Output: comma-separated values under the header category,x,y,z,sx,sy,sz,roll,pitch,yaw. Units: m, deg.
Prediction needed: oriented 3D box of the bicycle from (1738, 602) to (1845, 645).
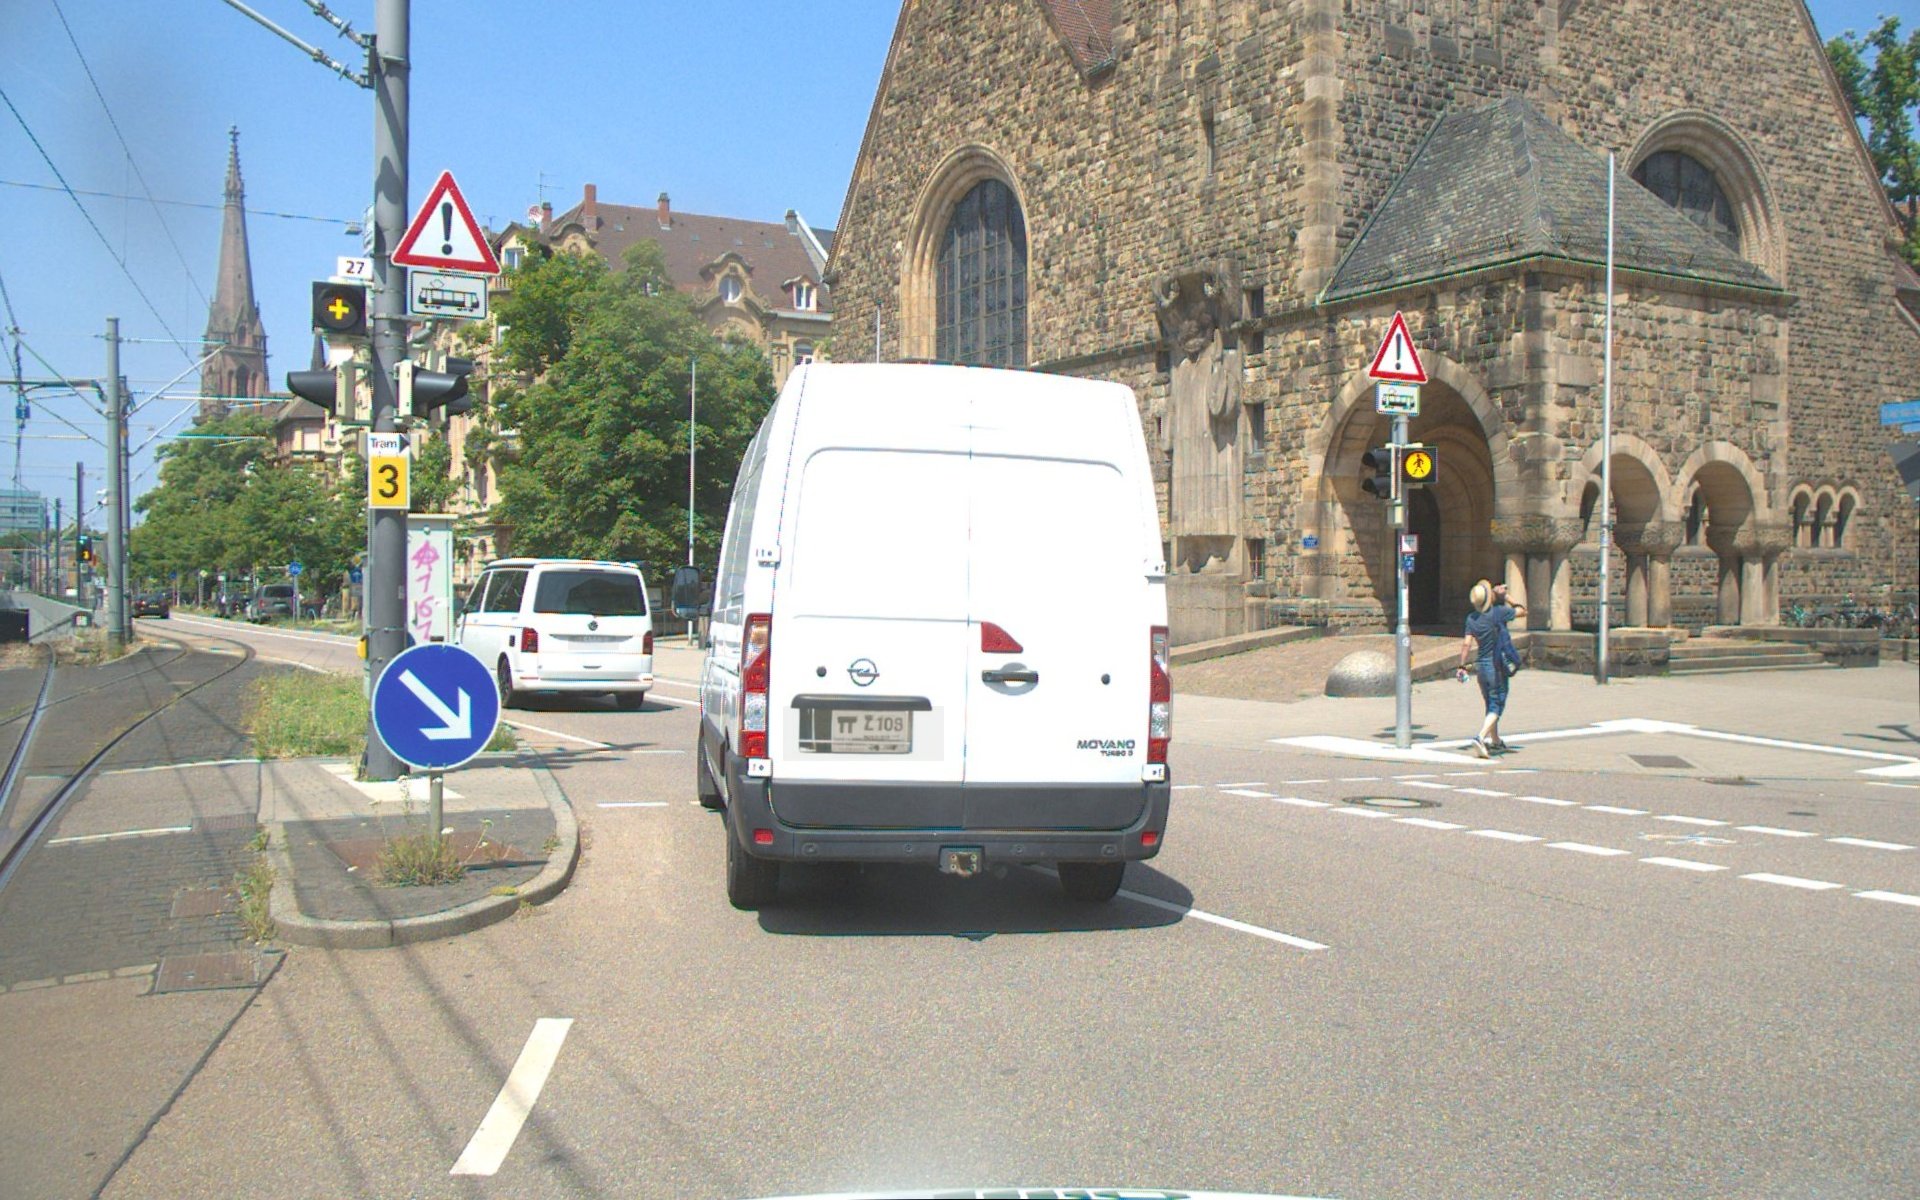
category,x,y,z,sx,sy,sz,roll,pitch,yaw
bicycle,20.930,0.571,41.700,0.696,1.029,2.475,-1,1,-28

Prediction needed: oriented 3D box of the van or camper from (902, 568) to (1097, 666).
category,x,y,z,sx,sy,sz,roll,pitch,yaw
van or camper,0.884,0.318,35.938,3.949,1.856,1.784,-2,4,-32

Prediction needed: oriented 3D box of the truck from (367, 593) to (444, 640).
category,x,y,z,sx,sy,sz,roll,pitch,yaw
truck,-19.866,0.579,59.150,1.771,1.553,4.420,-2,1,-30

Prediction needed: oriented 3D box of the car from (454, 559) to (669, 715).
category,x,y,z,sx,sy,sz,roll,pitch,yaw
car,-5.682,0.464,23.210,1.896,1.978,4.222,0,0,-29

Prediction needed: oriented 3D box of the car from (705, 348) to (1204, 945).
category,x,y,z,sx,sy,sz,roll,pitch,yaw
car,-0.378,0.193,9.611,2.079,2.502,5.042,0,0,-10

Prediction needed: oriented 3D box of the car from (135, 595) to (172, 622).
category,x,y,z,sx,sy,sz,roll,pitch,yaw
car,-48.470,0.516,99.405,1.732,1.566,3.720,0,0,-30

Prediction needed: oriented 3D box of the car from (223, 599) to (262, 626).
category,x,y,z,sx,sy,sz,roll,pitch,yaw
car,-42.855,0.723,98.758,1.732,1.606,3.720,0,0,-30

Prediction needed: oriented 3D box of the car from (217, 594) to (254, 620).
category,x,y,z,sx,sy,sz,roll,pitch,yaw
car,-45.480,0.437,103.800,1.732,1.606,3.720,0,0,-30

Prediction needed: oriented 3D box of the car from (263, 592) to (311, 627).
category,x,y,z,sx,sy,sz,roll,pitch,yaw
car,-33.884,0.463,83.210,1.732,1.735,3.720,0,0,-30

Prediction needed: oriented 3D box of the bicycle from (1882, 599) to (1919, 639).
category,x,y,z,sx,sy,sz,roll,pitch,yaw
bicycle,25.713,0.506,43.598,0.696,1.029,2.475,-1,1,-28

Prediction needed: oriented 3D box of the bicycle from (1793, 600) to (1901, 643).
category,x,y,z,sx,sy,sz,roll,pitch,yaw
bicycle,22.664,0.536,42.327,0.696,1.029,2.475,-1,1,-28

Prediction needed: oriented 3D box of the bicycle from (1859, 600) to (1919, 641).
category,x,y,z,sx,sy,sz,roll,pitch,yaw
bicycle,24.745,0.522,42.969,0.696,1.029,2.475,-1,1,-28

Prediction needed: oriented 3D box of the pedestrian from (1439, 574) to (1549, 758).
category,x,y,z,sx,sy,sz,roll,pitch,yaw
pedestrian,5.544,0.668,17.191,0.732,1.854,0.827,0,0,-23
